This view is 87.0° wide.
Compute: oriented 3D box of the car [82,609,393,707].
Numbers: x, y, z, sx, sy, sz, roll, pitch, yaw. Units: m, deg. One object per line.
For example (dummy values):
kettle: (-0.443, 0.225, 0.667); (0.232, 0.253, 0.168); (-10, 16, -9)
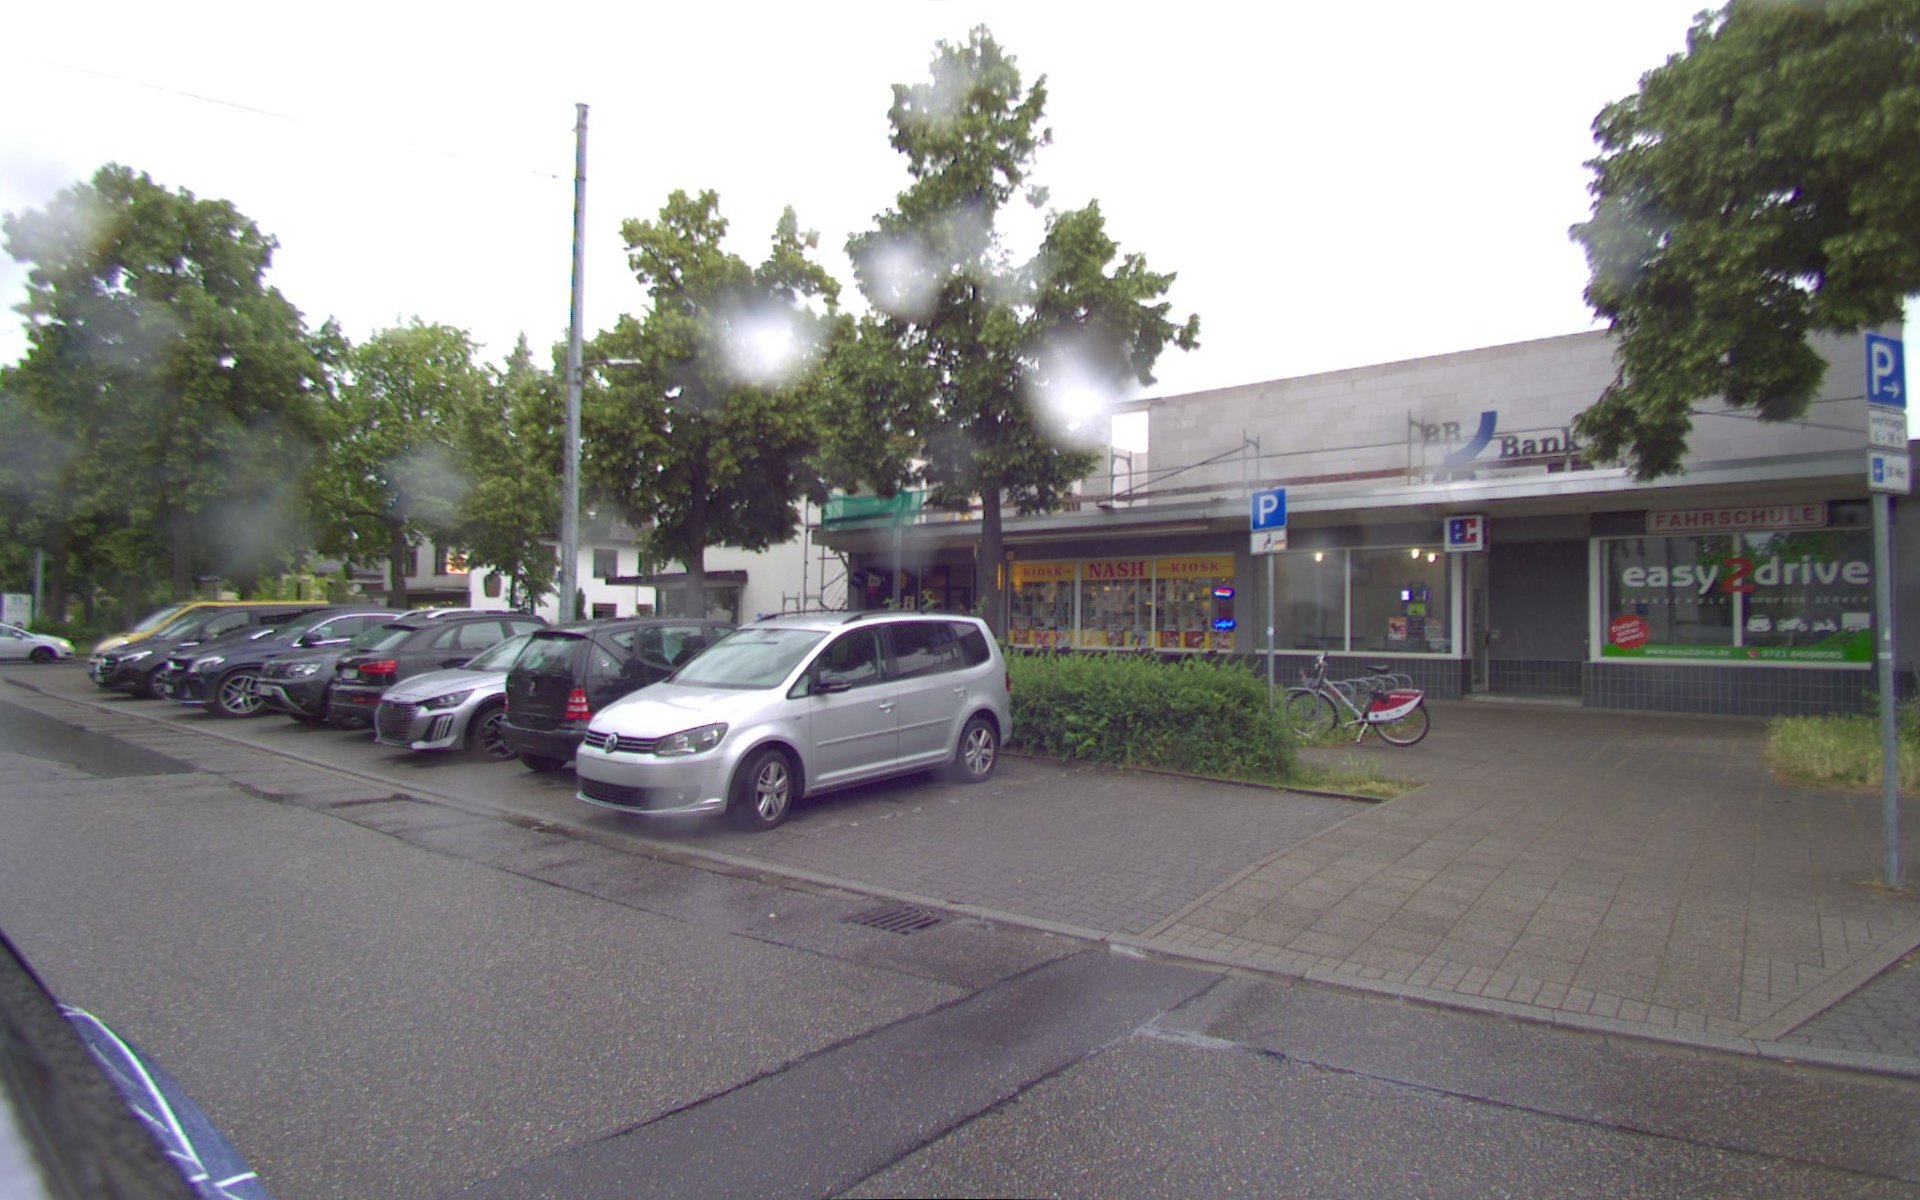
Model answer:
car: (-15.123, 1.108, 21.498); (1.713, 1.813, 5.114); (-1, -1, 38)

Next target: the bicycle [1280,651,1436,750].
bicycle: (4.841, 1.202, 12.358); (1.739, 1.115, 0.316); (-1, 0, 25)

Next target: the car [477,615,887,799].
car: (-2.832, 0.980, 11.151); (1.633, 1.577, 4.231); (-1, 0, 38)

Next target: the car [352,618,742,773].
car: (-4.929, 1.020, 12.615); (1.713, 1.544, 4.231); (-1, -1, 38)

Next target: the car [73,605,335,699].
car: (-17.434, 1.100, 23.564); (1.713, 1.973, 4.600); (-1, -1, 38)

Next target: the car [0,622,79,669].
car: (-31.984, 1.521, 33.399); (1.999, 1.465, 4.199); (-1, 0, 41)

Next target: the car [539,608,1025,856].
car: (-1.308, 0.905, 8.997); (1.713, 1.647, 4.231); (-1, -1, 38)

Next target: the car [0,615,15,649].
car: (-49.748, 1.623, 50.209); (1.997, 1.698, 3.950); (-1, 0, 37)

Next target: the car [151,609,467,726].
car: (-10.950, 1.031, 17.302); (1.713, 1.740, 4.231); (-1, -1, 38)

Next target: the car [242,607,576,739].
car: (-8.324, 0.987, 15.642); (1.713, 1.740, 4.231); (-1, -1, 38)

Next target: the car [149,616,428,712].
car: (-12.947, 1.145, 19.756); (1.713, 1.639, 4.231); (-1, -1, 38)

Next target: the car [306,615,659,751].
car: (-6.569, 1.029, 14.352); (1.713, 1.607, 4.231); (-1, -1, 38)
